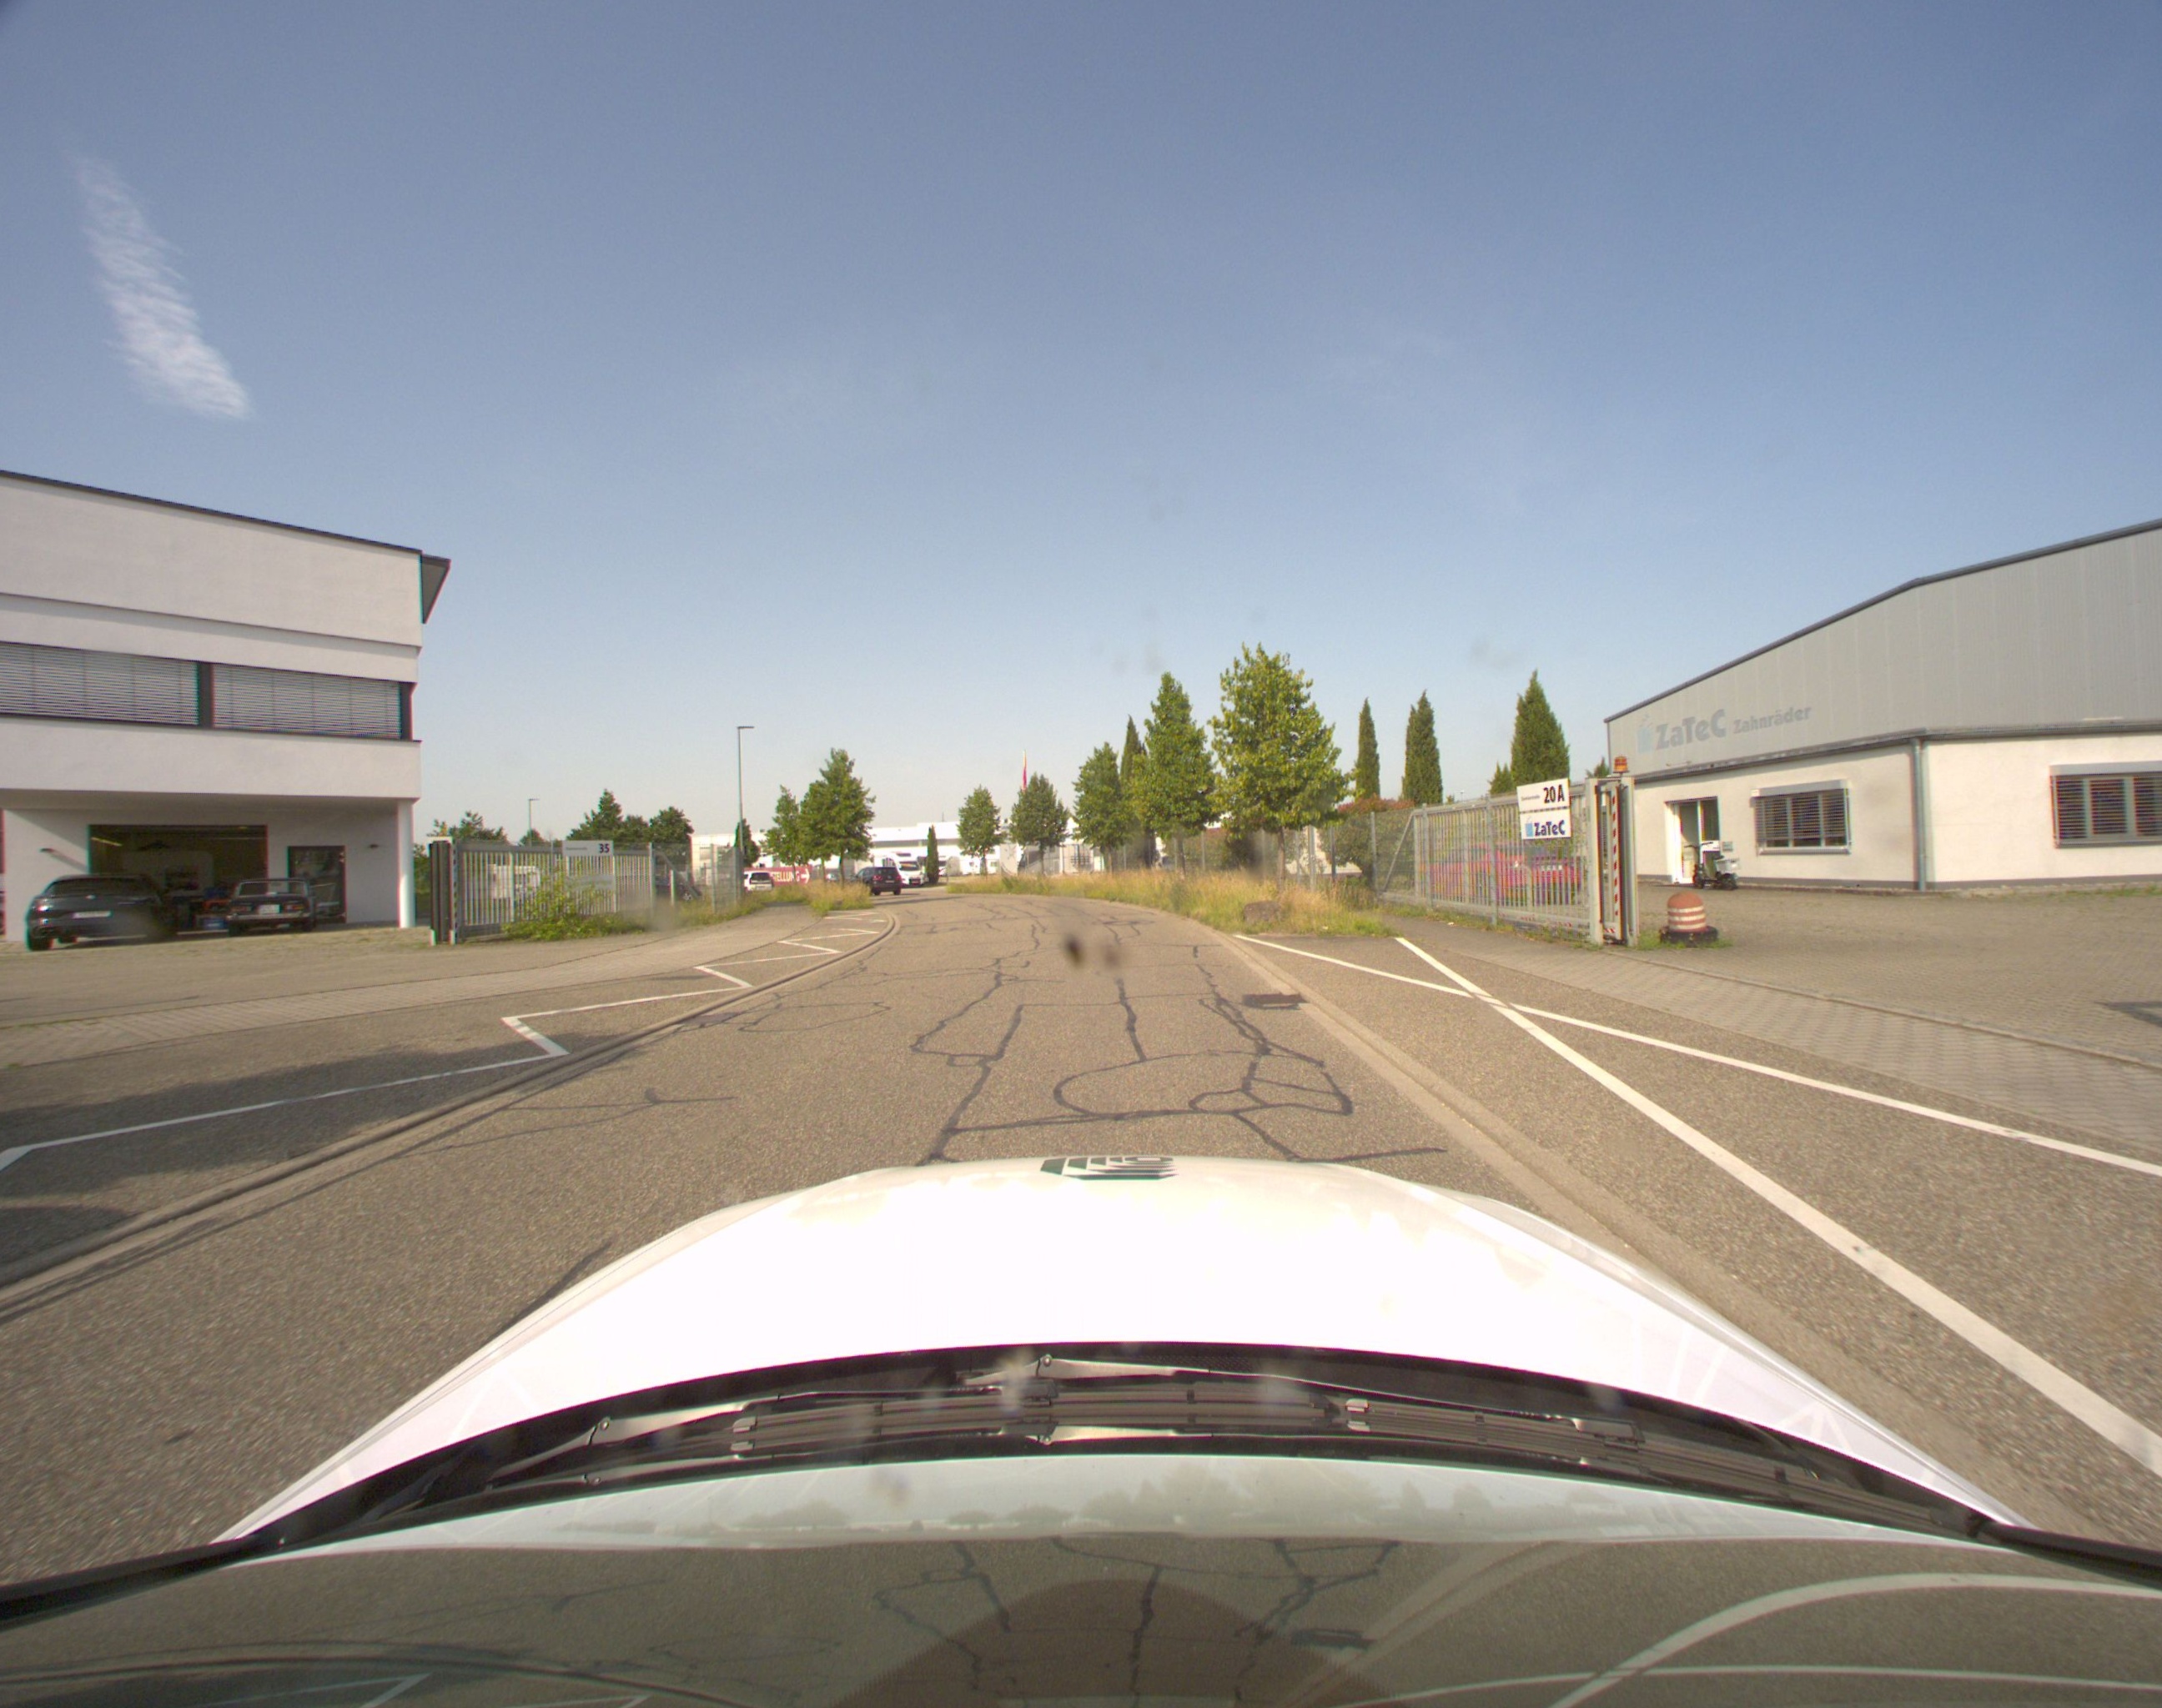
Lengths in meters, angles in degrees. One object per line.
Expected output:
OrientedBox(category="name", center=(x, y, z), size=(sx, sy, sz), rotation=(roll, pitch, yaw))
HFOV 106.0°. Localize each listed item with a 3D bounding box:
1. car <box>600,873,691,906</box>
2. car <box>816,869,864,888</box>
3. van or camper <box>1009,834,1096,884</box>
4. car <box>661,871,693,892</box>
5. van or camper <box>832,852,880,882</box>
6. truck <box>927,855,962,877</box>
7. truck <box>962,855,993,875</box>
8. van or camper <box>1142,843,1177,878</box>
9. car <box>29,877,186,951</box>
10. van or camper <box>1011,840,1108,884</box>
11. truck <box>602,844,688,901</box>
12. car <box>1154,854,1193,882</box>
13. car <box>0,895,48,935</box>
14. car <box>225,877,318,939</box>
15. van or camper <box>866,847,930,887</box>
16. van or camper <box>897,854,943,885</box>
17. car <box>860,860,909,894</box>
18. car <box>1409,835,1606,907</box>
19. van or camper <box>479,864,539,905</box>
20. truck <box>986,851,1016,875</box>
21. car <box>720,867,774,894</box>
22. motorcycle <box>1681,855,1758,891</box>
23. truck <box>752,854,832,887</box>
OrientedBox(category="car", center=(-20.865, 1.679, 39.080), size=(1.577, 1.454, 3.525), rotation=(-3, -2, 44))
OrientedBox(category="car", center=(-21.133, 2.139, 71.603), size=(2.148, 1.476, 4.018), rotation=(-2, 0, 17))
OrientedBox(category="van or camper", center=(-1.952, 0.375, 51.156), size=(2.363, 2.848, 7.272), rotation=(-1, -1, -29))
OrientedBox(category="car", center=(-41.003, 2.790, 82.661), size=(1.835, 1.978, 3.952), rotation=(-6, 2, -42))
OrientedBox(category="van or camper", center=(-23.807, 1.330, 86.577), size=(2.650, 3.084, 6.802), rotation=(-2, 0, 4))
OrientedBox(category="truck", center=(-16.446, 1.393, 98.849), size=(2.440, 2.471, 8.007), rotation=(-2, 0, 3))
OrientedBox(category="truck", center=(-12.810, 1.369, 101.423), size=(2.440, 2.265, 8.007), rotation=(-2, 0, 3))
OrientedBox(category="van or camper", center=(6.686, 0.618, 70.478), size=(2.313, 2.864, 6.608), rotation=(-2, -1, 0))
OrientedBox(category="car", center=(-22.772, 1.346, 19.224), size=(1.879, 1.487, 3.951), rotation=(-1, -1, -43))
OrientedBox(category="van or camper", center=(-1.717, 0.618, 62.736), size=(7.245, 3.032, 2.581), rotation=(-2, -1, -5))
OrientedBox(category="truck", center=(-33.125, 1.476, 61.479), size=(2.649, 3.929, 12.761), rotation=(-1, -2, -42))
OrientedBox(category="car", center=(5.599, 0.839, 49.714), size=(1.719, 1.643, 3.995), rotation=(0, 0, -3))
OrientedBox(category="car", center=(-36.278, 2.039, 25.980), size=(3.944, 1.247, 1.543), rotation=(-2, -1, -45))
OrientedBox(category="car", center=(-21.048, 1.363, 21.291), size=(1.572, 1.415, 3.873), rotation=(-1, -1, -43))
OrientedBox(category="van or camper", center=(-14.380, 1.037, 63.578), size=(2.349, 2.943, 6.894), rotation=(-1, -1, -36))
OrientedBox(category="van or camper", center=(-14.037, 1.281, 71.587), size=(2.473, 2.559, 6.629), rotation=(-2, 0, 2))
OrientedBox(category="car", center=(-11.488, 1.343, 47.354), size=(2.003, 1.805, 3.967), rotation=(-2, 0, -25))
OrientedBox(category="car", center=(9.465, 0.358, 18.605), size=(1.875, 1.358, 4.770), rotation=(-2, 0, -1))
OrientedBox(category="van or camper", center=(-38.426, 2.071, 54.683), size=(4.891, 2.560, 2.327), rotation=(-3, -1, 43))
OrientedBox(category="truck", center=(-9.847, 1.064, 101.301), size=(2.440, 2.826, 8.007), rotation=(-2, 0, 3))
OrientedBox(category="car", center=(-25.205, 2.037, 61.411), size=(4.410, 1.899, 2.012), rotation=(-3, -1, 42))
OrientedBox(category="motorcycle", center=(14.684, 0.420, 18.772), size=(0.532, 0.751, 1.583), rotation=(-4, -1, 2))
OrientedBox(category="truck", center=(-37.429, 2.131, 105.638), size=(9.256, 3.972, 2.457), rotation=(-2, -1, -1))
